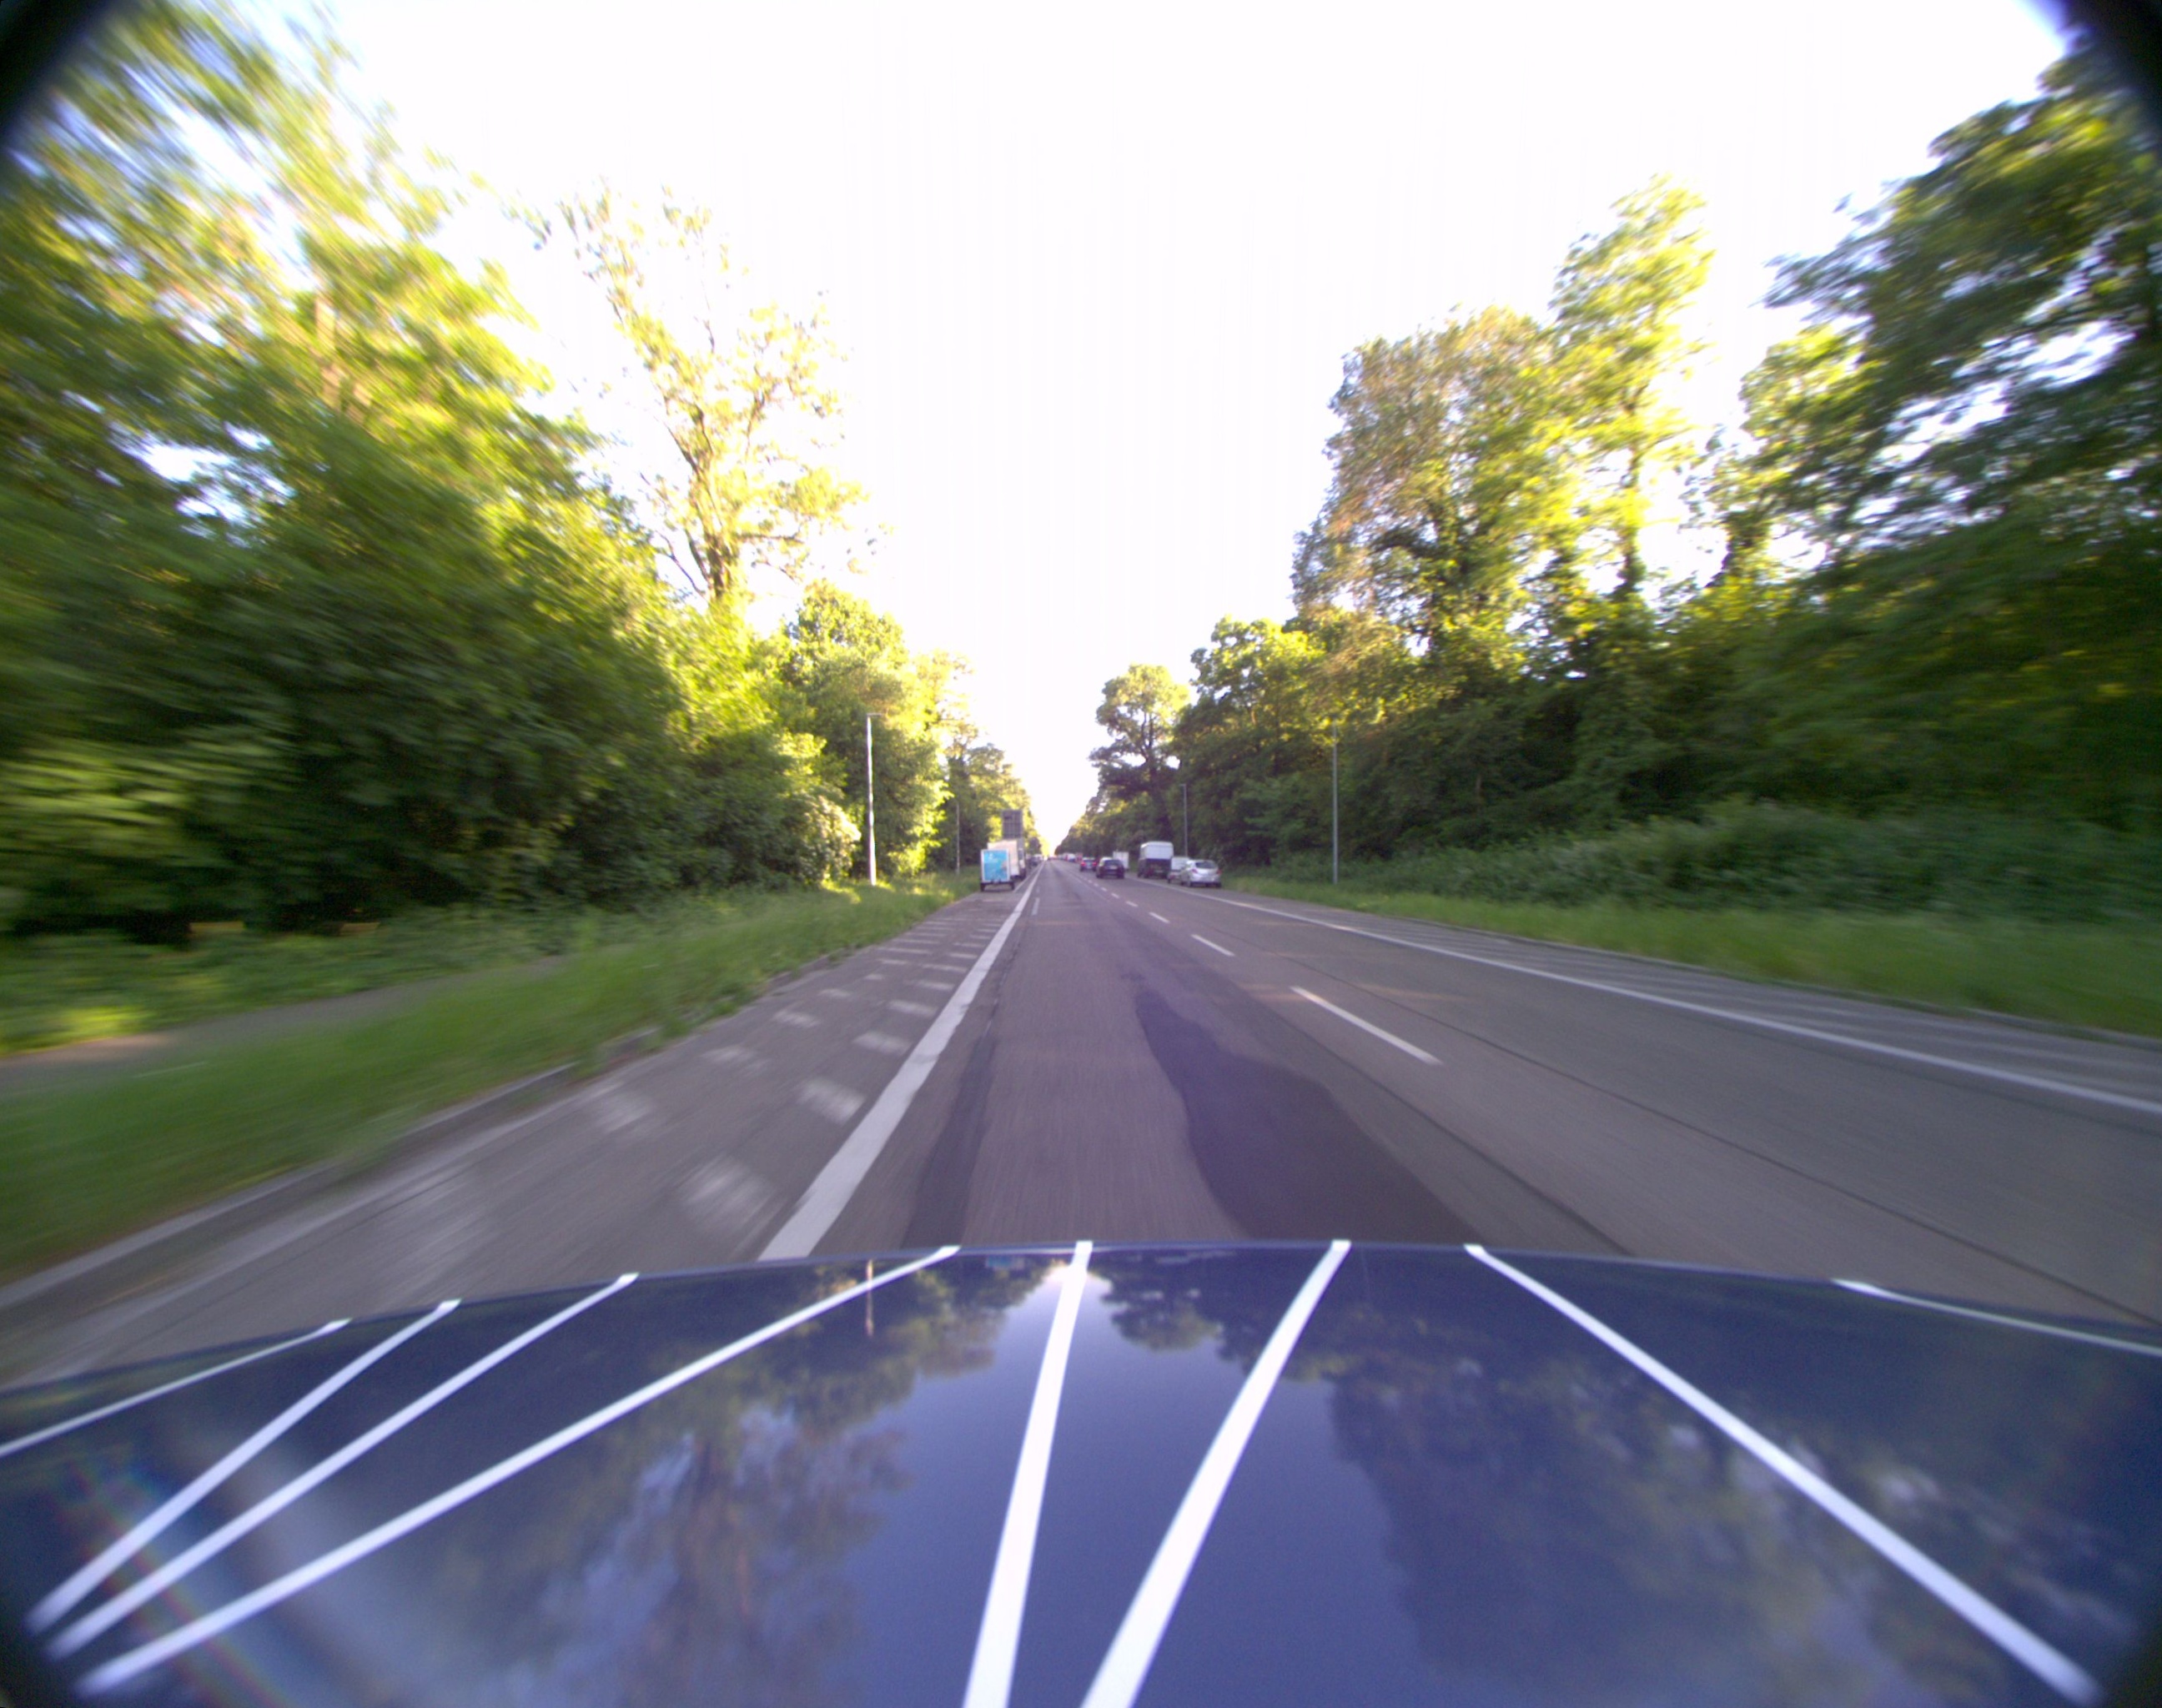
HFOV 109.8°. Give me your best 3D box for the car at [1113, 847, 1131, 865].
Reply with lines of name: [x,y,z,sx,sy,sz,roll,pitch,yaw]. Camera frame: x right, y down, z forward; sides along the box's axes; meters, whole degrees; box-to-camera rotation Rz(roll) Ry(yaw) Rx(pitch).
car: [4.852,0.227,90.378,1.692,2.089,4.630,0,1,-3]

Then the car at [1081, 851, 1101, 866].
car: [1.011,0.435,80.112,1.807,1.455,3.911,0,1,-3]

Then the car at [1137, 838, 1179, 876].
car: [5.889,0.197,58.599,2.461,2.831,4.797,0,1,-3]

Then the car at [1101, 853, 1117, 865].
car: [3.809,0.645,103.093,1.807,1.496,3.911,0,1,-3]

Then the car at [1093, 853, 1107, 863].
car: [2.948,0.560,118.785,1.807,1.496,3.911,0,1,-3]

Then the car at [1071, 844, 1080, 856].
car: [-1.619,-1.258,224.750,2.280,3.481,5.498,-3,0,0]

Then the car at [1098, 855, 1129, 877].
car: [2.361,0.849,56.251,1.915,1.455,4.356,0,1,-3]

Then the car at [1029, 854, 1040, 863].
car: [-8.201,0.845,135.104,1.898,1.455,3.911,0,1,-3]

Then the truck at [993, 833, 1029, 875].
truck: [-5.620,-0.052,61.843,2.706,3.219,7.125,0,1,-3]

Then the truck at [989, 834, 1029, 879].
truck: [-5.045,0.131,53.976,2.390,2.855,5.596,-4,1,-3]

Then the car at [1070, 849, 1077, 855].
car: [-2.346,-0.656,245.146,2.095,1.925,3.999,-1,1,-1]

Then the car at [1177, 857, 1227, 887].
car: [6.517,0.949,41.340,1.915,1.455,4.010,0,1,-3]

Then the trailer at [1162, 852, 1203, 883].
trailer: [6.159,0.791,46.272,1.807,1.719,3.646,0,1,-3]

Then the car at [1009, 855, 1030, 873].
car: [-5.534,0.890,68.684,1.807,1.455,3.911,0,1,-3]

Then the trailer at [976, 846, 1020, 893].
trailer: [-4.103,0.708,38.166,1.870,2.165,4.127,-3,1,-3]

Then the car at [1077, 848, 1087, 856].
car: [0.223,-0.477,196.867,1.999,2.002,3.998,-3,0,-5]
